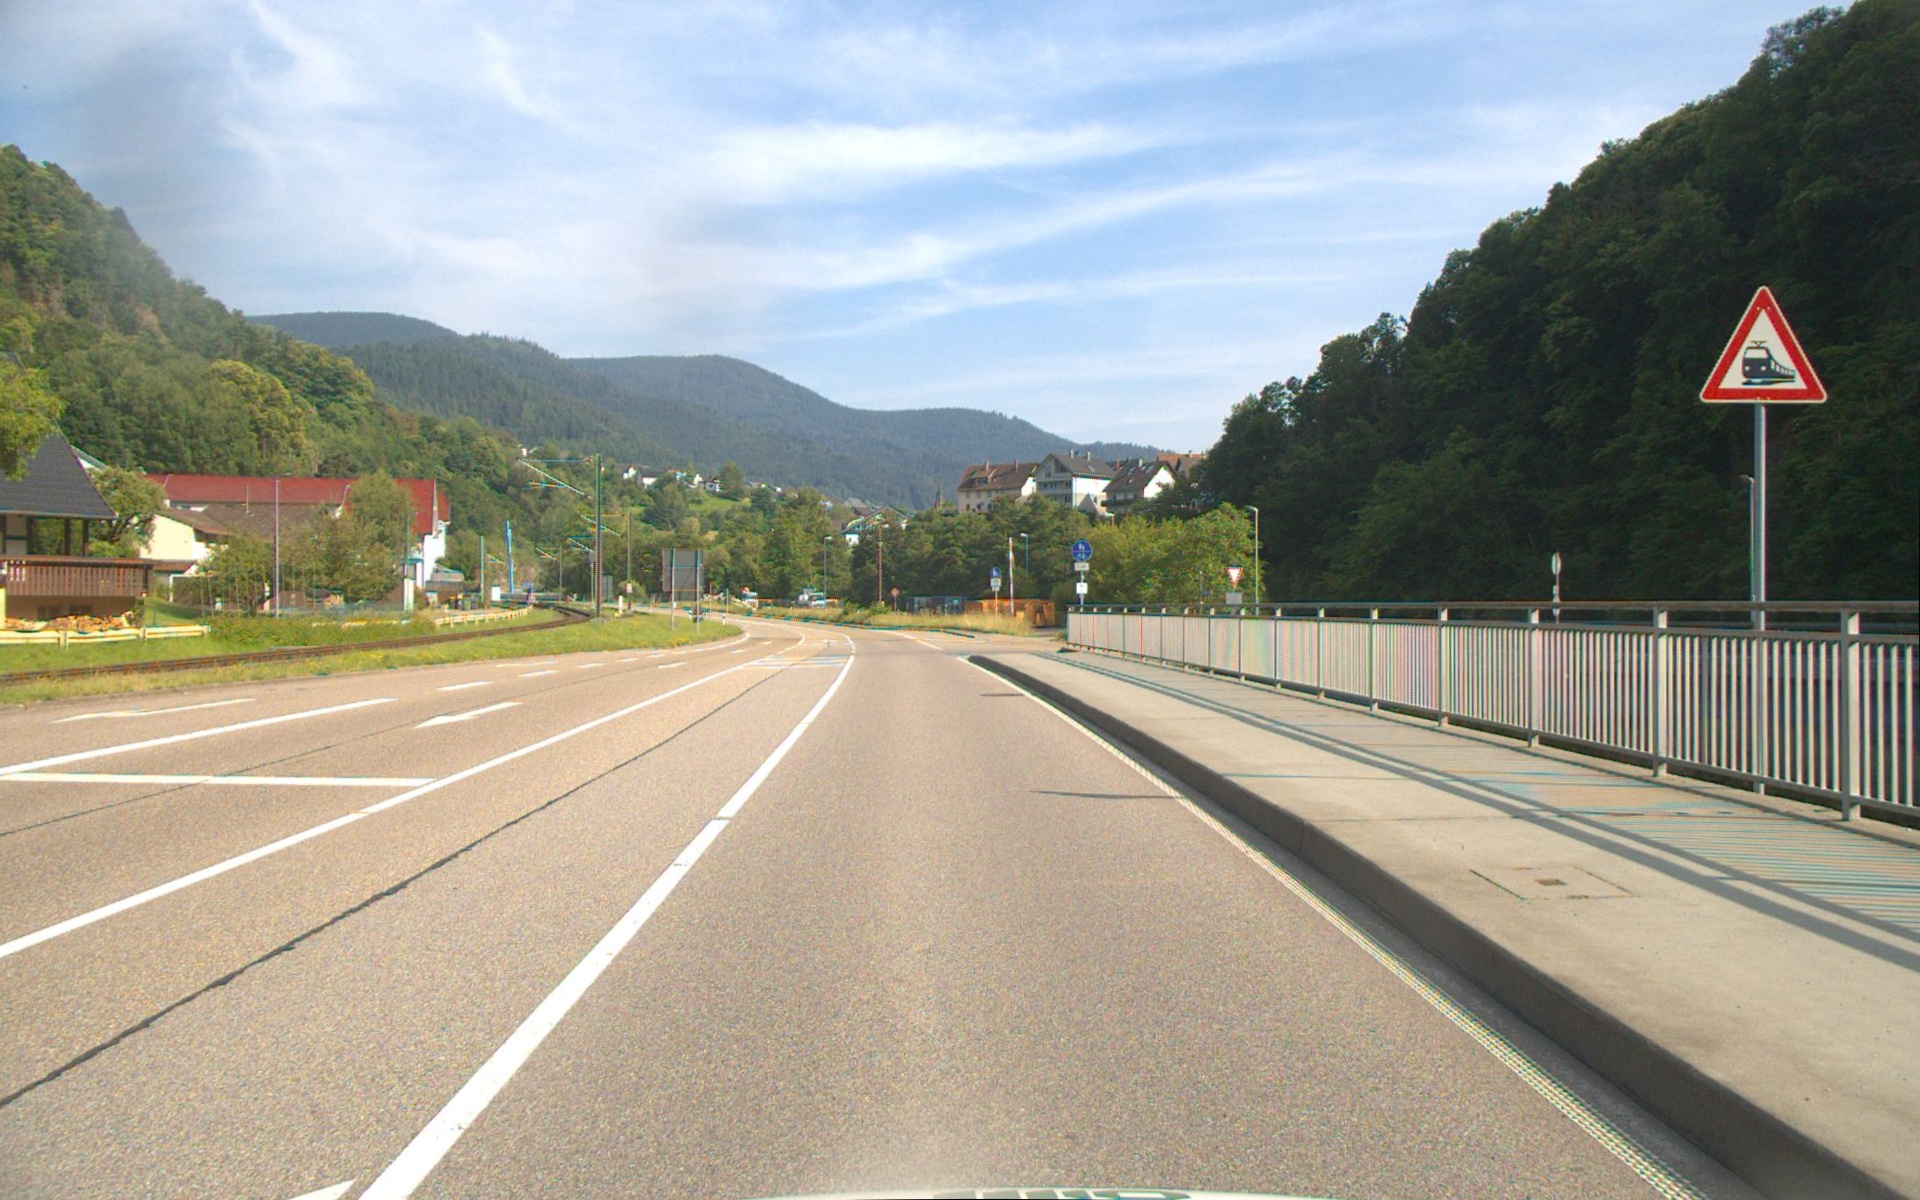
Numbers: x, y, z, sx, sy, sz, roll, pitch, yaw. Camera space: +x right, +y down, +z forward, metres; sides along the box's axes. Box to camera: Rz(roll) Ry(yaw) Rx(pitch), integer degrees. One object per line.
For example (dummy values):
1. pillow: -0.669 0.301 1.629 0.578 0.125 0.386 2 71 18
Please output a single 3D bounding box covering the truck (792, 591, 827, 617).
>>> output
1. truck: -22.578 0.631 247.822 3.057 3.848 8.595 1 0 -20
